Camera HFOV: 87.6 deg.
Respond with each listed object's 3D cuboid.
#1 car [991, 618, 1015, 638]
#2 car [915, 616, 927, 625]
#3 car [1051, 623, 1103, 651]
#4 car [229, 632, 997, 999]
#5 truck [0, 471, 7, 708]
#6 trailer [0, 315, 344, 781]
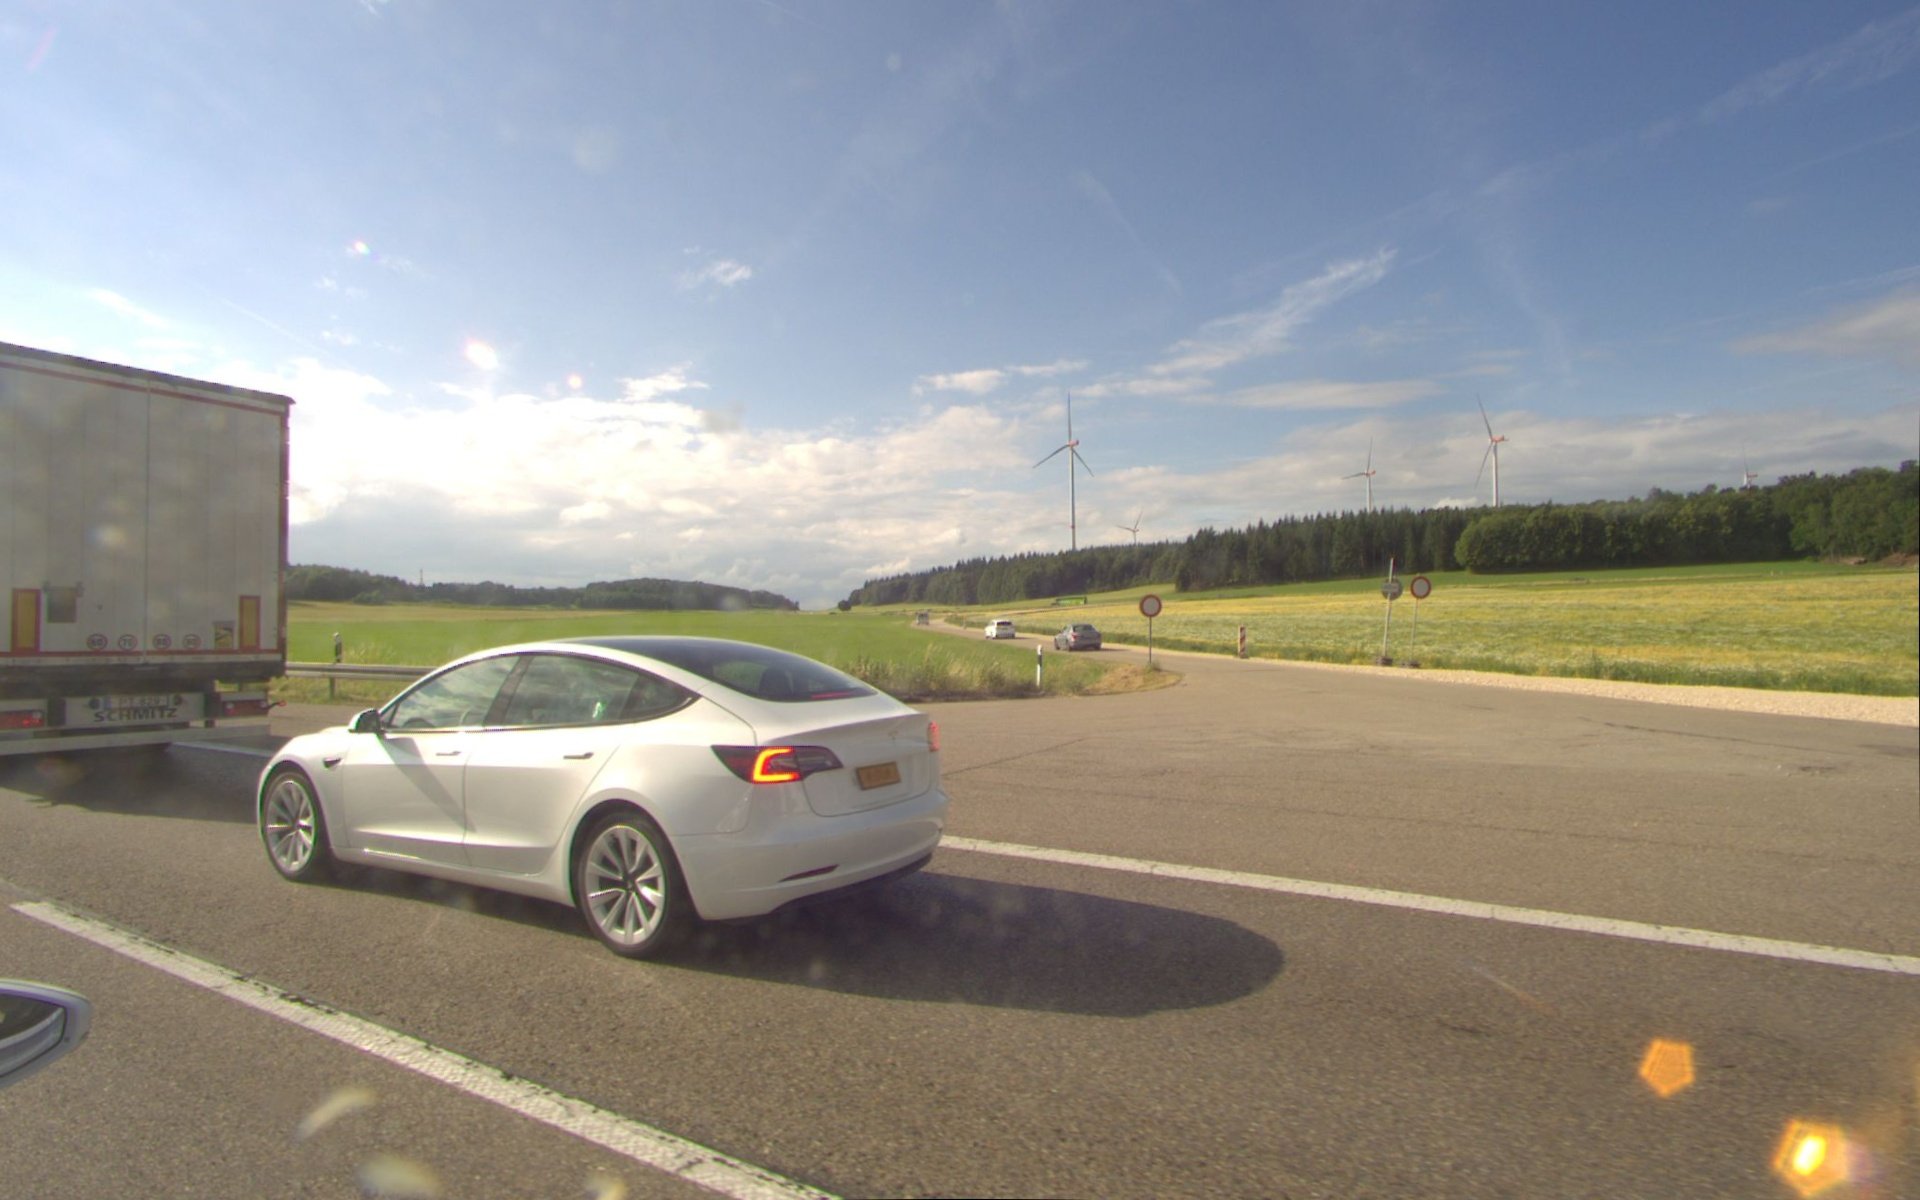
[{"bbox_3d":[3.344,2.185,78.200,1.676,1.450,4.233,-1,-1,0],"label":"car"},{"bbox_3d":[-6.379,3.409,164.162,1.676,1.450,4.232,-1,-1,-5],"label":"car"},{"bbox_3d":[6.260,1.982,54.157,1.677,1.450,4.230,0,-1,-10],"label":"car"},{"bbox_3d":[-2.126,0.903,5.789,4.370,1.412,1.787,-1,-1,30],"label":"car"},{"bbox_3d":[-19.357,-0.141,17.239,5.091,4.066,3.128,-2,-2,32],"label":"truck"},{"bbox_3d":[-13.237,-0.192,13.355,13.178,4.061,3.125,-2,-2,32],"label":"trailer"}]
